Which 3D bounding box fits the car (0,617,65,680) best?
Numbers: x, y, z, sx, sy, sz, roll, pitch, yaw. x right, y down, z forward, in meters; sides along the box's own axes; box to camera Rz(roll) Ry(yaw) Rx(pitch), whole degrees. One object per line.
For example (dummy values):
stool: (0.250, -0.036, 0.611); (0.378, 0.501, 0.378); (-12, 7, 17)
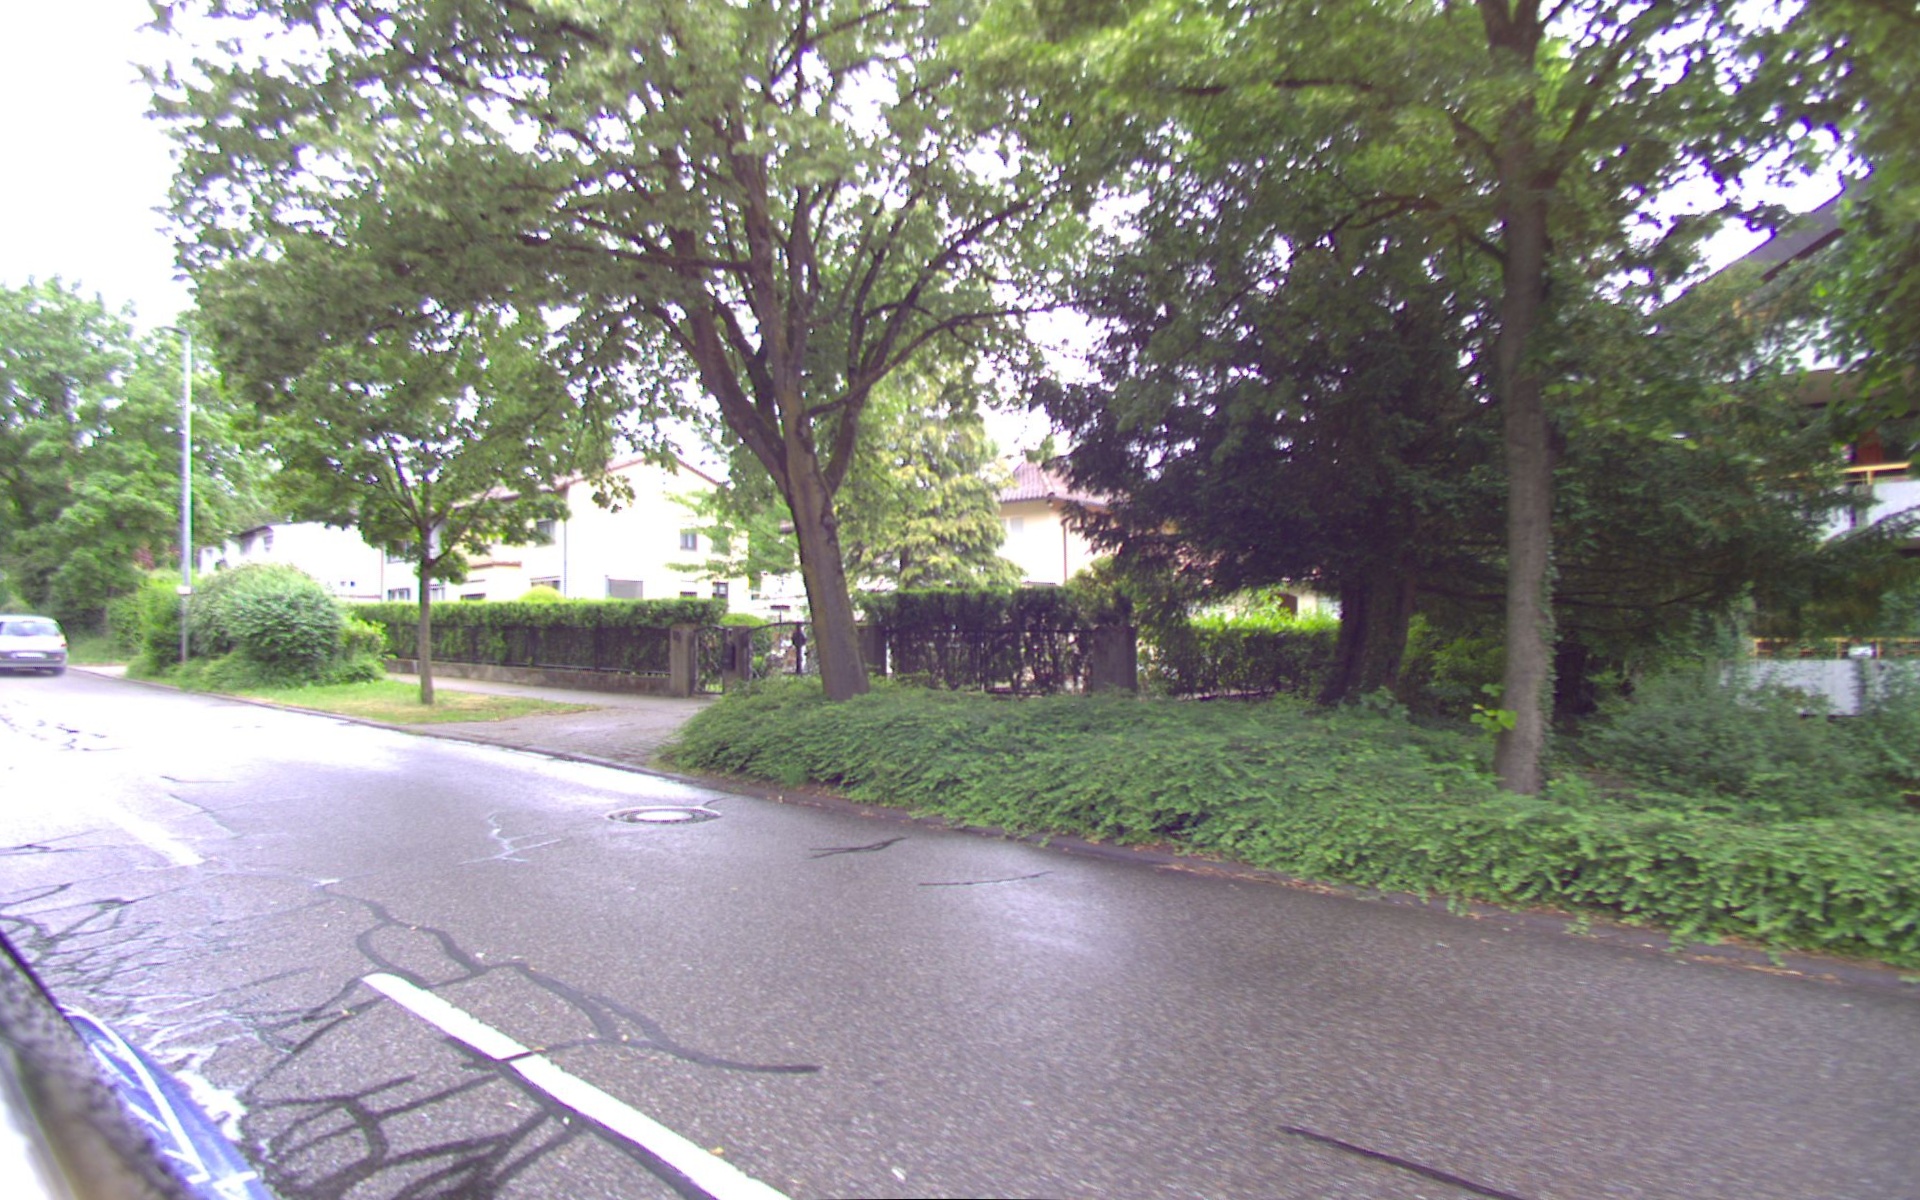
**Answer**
car: (-26.134, 1.324, 27.764); (4.138, 1.626, 1.745); (-2, -4, 41)
